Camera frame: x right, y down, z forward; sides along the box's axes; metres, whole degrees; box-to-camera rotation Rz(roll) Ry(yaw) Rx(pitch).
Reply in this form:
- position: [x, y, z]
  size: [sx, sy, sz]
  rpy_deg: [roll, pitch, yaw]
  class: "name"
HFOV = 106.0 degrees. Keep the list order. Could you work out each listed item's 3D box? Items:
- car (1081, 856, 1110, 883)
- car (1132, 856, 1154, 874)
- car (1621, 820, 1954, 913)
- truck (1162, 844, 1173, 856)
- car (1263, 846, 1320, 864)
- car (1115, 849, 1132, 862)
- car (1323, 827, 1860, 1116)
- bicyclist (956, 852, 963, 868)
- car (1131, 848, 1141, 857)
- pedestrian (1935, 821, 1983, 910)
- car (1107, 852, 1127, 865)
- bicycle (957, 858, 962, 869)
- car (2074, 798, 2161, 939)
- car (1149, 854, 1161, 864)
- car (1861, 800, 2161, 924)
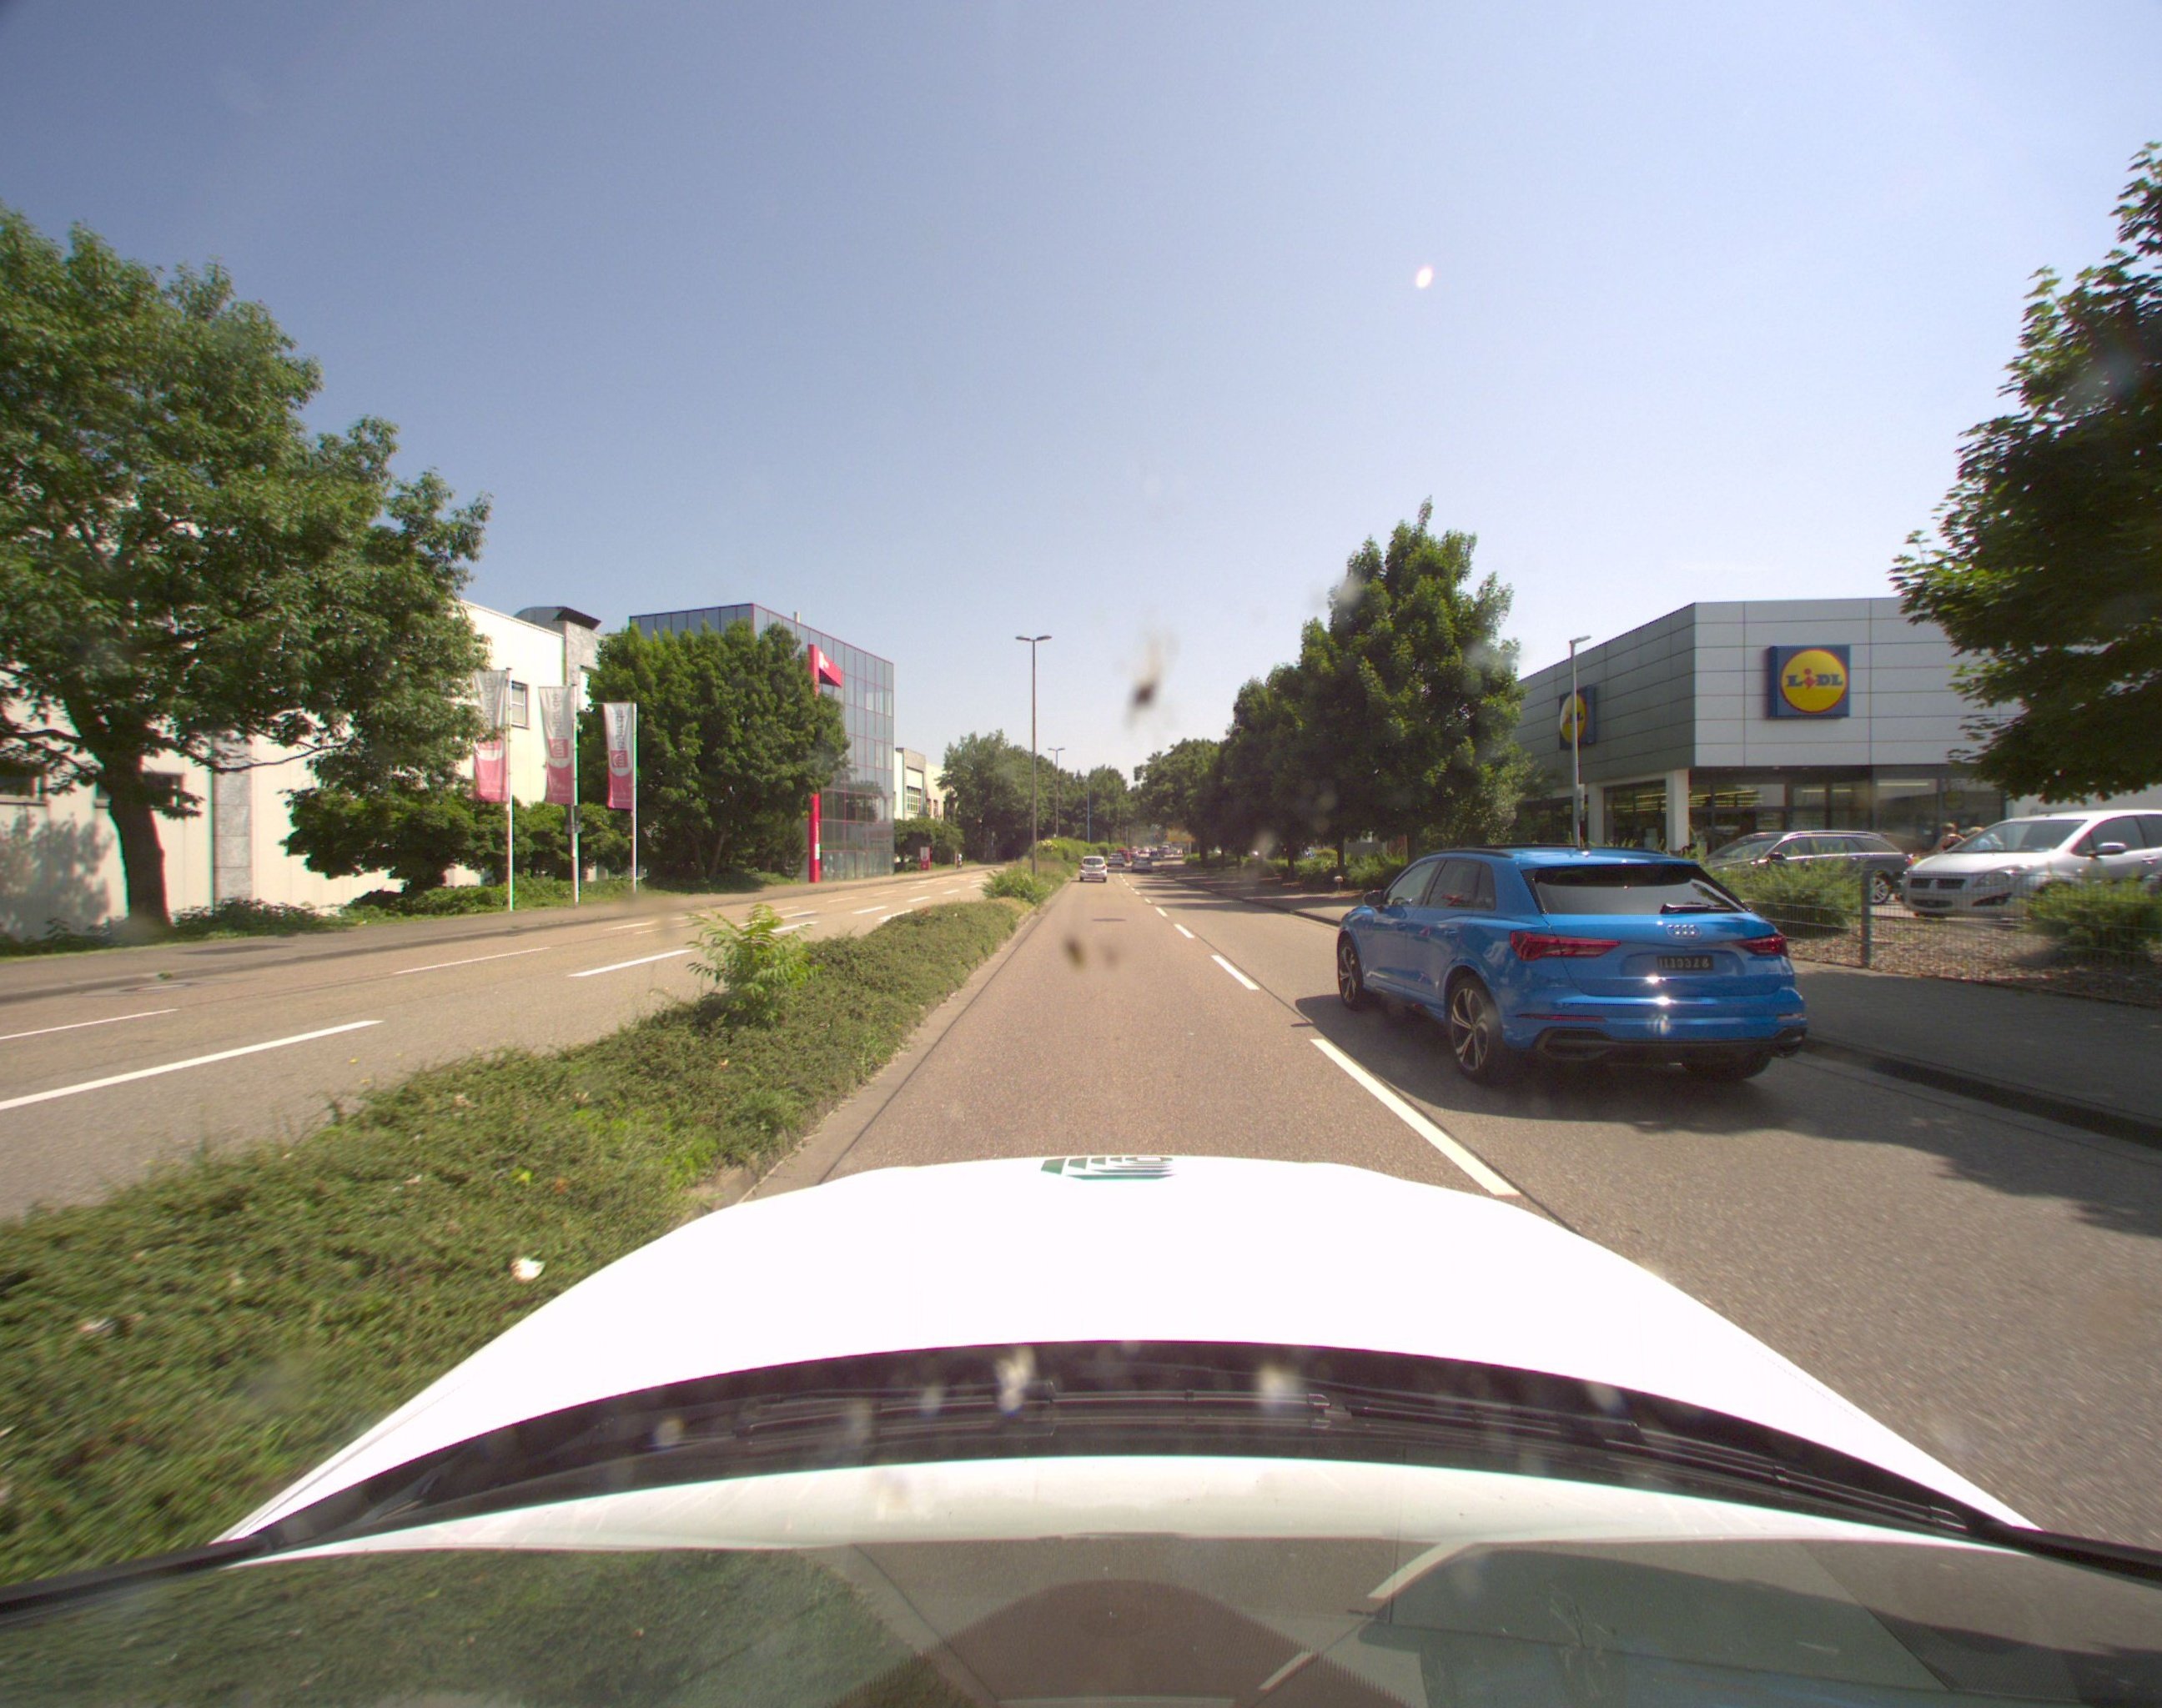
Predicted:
- position: [0.888, 0.896, 49.178]
  size: [1.632, 1.552, 3.327]
  rpy_deg: [0, 0, 3]
  class: "car"
- position: [5.347, 0.917, 70.278]
  size: [1.857, 1.473, 4.005]
  rpy_deg: [1, 0, 4]
  class: "car"
- position: [14.119, 0.251, 16.505]
  size: [4.975, 1.596, 2.022]
  rpy_deg: [-2, -1, 0]
  class: "car"
- position: [26.271, -1.121, 246.915]
  size: [2.916, 3.502, 9.176]
  rpy_deg: [-1, 0, 7]
  class: "truck"
- position: [18.058, 0.086, 70.005]
  size: [1.960, 1.352, 4.668]
  rpy_deg: [-2, 0, -31]
  class: "car"
- position: [5.569, 0.151, 105.452]
  size: [1.875, 1.608, 4.007]
  rpy_deg: [-2, 0, 7]
  class: "car"
- position: [3.501, 0.664, 6.728]
  size: [1.802, 1.593, 4.350]
  rpy_deg: [1, 0, 1]
  class: "car"
- position: [-11.955, 0.616, 80.291]
  size: [0.543, 1.509, 0.343]
  rpy_deg: [-2, -1, 1]
  class: "bicyclist"
- position: [8.402, -0.190, 124.244]
  size: [1.482, 1.392, 3.308]
  rpy_deg: [1, 0, 2]
  class: "car"
- position: [17.009, 0.219, 15.780]
  size: [0.446, 1.673, 0.416]
  rpy_deg: [-2, 0, -1]
  class: "pedestrian"
- position: [3.925, 0.505, 88.071]
  size: [1.875, 1.354, 4.008]
  rpy_deg: [1, 0, 7]
  class: "car"
- position: [-11.954, 0.953, 80.272]
  size: [0.345, 1.067, 0.923]
  rpy_deg: [-2, 0, 2]
  class: "bicycle"
- position: [13.688, 0.128, 8.745]
  size: [3.978, 1.534, 1.825]
  rpy_deg: [-1, -1, -3]
  class: "car"
- position: [11.023, 0.724, 121.230]
  size: [1.436, 1.348, 3.461]
  rpy_deg: [-2, 0, 2]
  class: "car"
- position: [13.848, 0.106, 11.504]
  size: [3.976, 1.596, 1.826]
  rpy_deg: [0, 0, -2]
  class: "car"
